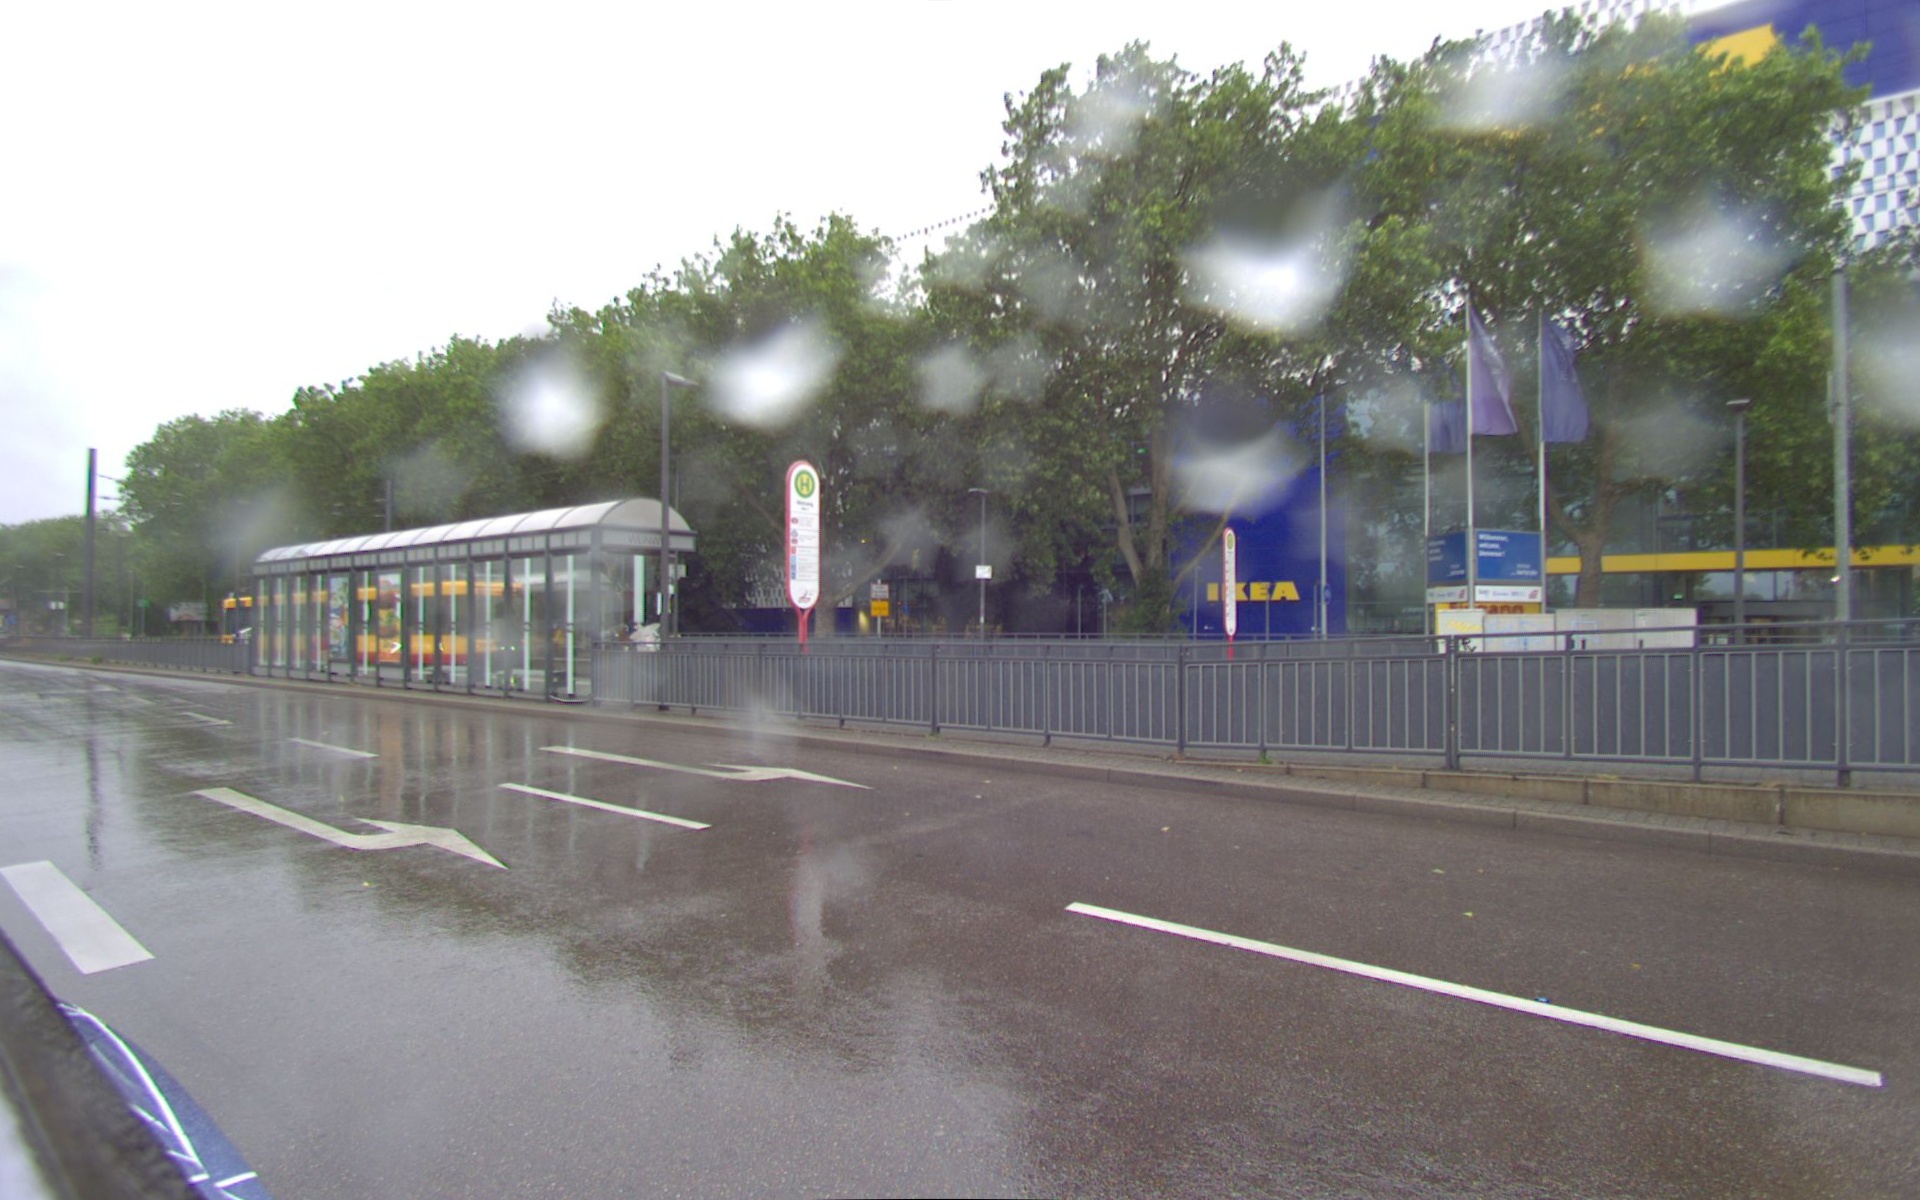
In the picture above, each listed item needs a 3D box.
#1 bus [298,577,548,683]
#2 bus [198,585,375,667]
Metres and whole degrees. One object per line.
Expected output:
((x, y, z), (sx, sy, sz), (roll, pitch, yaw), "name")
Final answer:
((-20.644, 1.015, 38.032), (15.052, 3.354, 2.901), (-1, 0, 40), "bus")
((-32.133, 1.137, 47.790), (15.052, 3.354, 2.901), (-1, 0, 40), "bus")
